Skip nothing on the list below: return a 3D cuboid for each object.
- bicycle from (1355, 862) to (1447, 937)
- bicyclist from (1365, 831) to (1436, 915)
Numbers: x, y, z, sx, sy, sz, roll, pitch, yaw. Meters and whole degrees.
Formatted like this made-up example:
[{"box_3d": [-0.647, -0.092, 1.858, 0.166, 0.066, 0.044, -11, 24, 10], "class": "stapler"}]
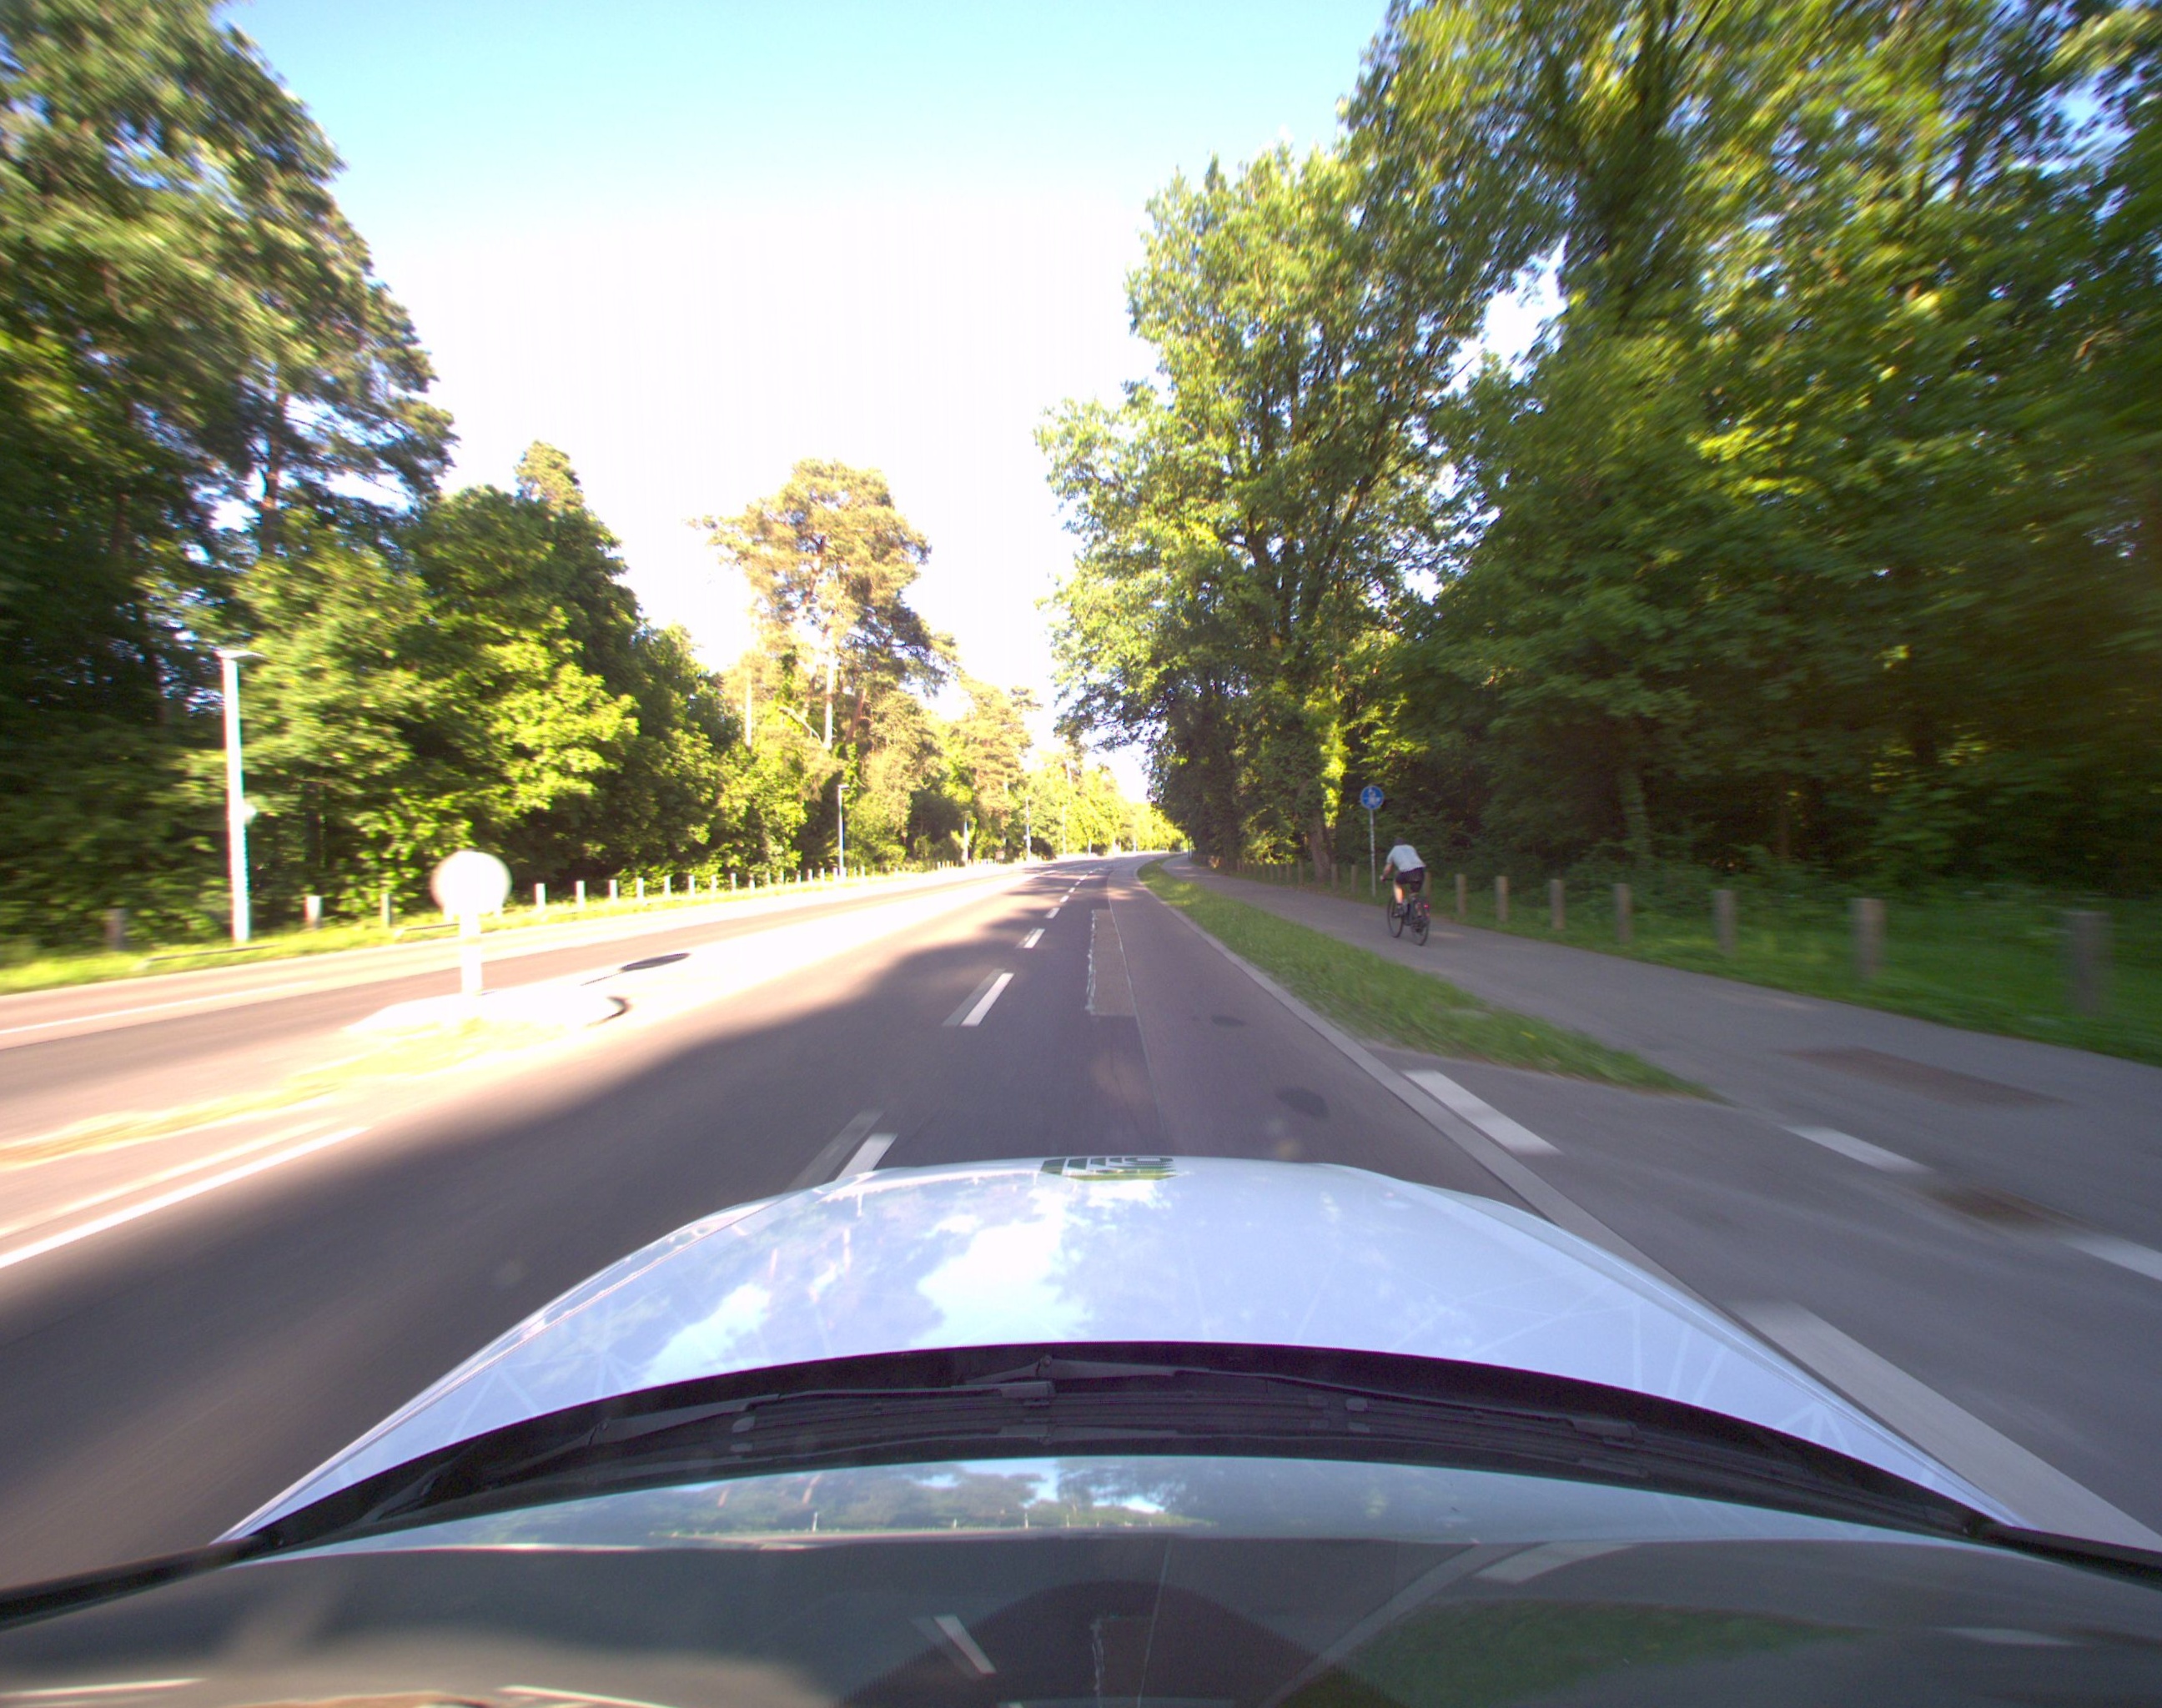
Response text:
[{"box_3d": [5.097, 0.686, 13.117, 0.709, 1.055, 2.054, -1, 0, 2], "class": "bicycle"}, {"box_3d": [5.091, 0.288, 13.037, 0.709, 1.288, 1.105, -1, 0, 2], "class": "bicyclist"}]
